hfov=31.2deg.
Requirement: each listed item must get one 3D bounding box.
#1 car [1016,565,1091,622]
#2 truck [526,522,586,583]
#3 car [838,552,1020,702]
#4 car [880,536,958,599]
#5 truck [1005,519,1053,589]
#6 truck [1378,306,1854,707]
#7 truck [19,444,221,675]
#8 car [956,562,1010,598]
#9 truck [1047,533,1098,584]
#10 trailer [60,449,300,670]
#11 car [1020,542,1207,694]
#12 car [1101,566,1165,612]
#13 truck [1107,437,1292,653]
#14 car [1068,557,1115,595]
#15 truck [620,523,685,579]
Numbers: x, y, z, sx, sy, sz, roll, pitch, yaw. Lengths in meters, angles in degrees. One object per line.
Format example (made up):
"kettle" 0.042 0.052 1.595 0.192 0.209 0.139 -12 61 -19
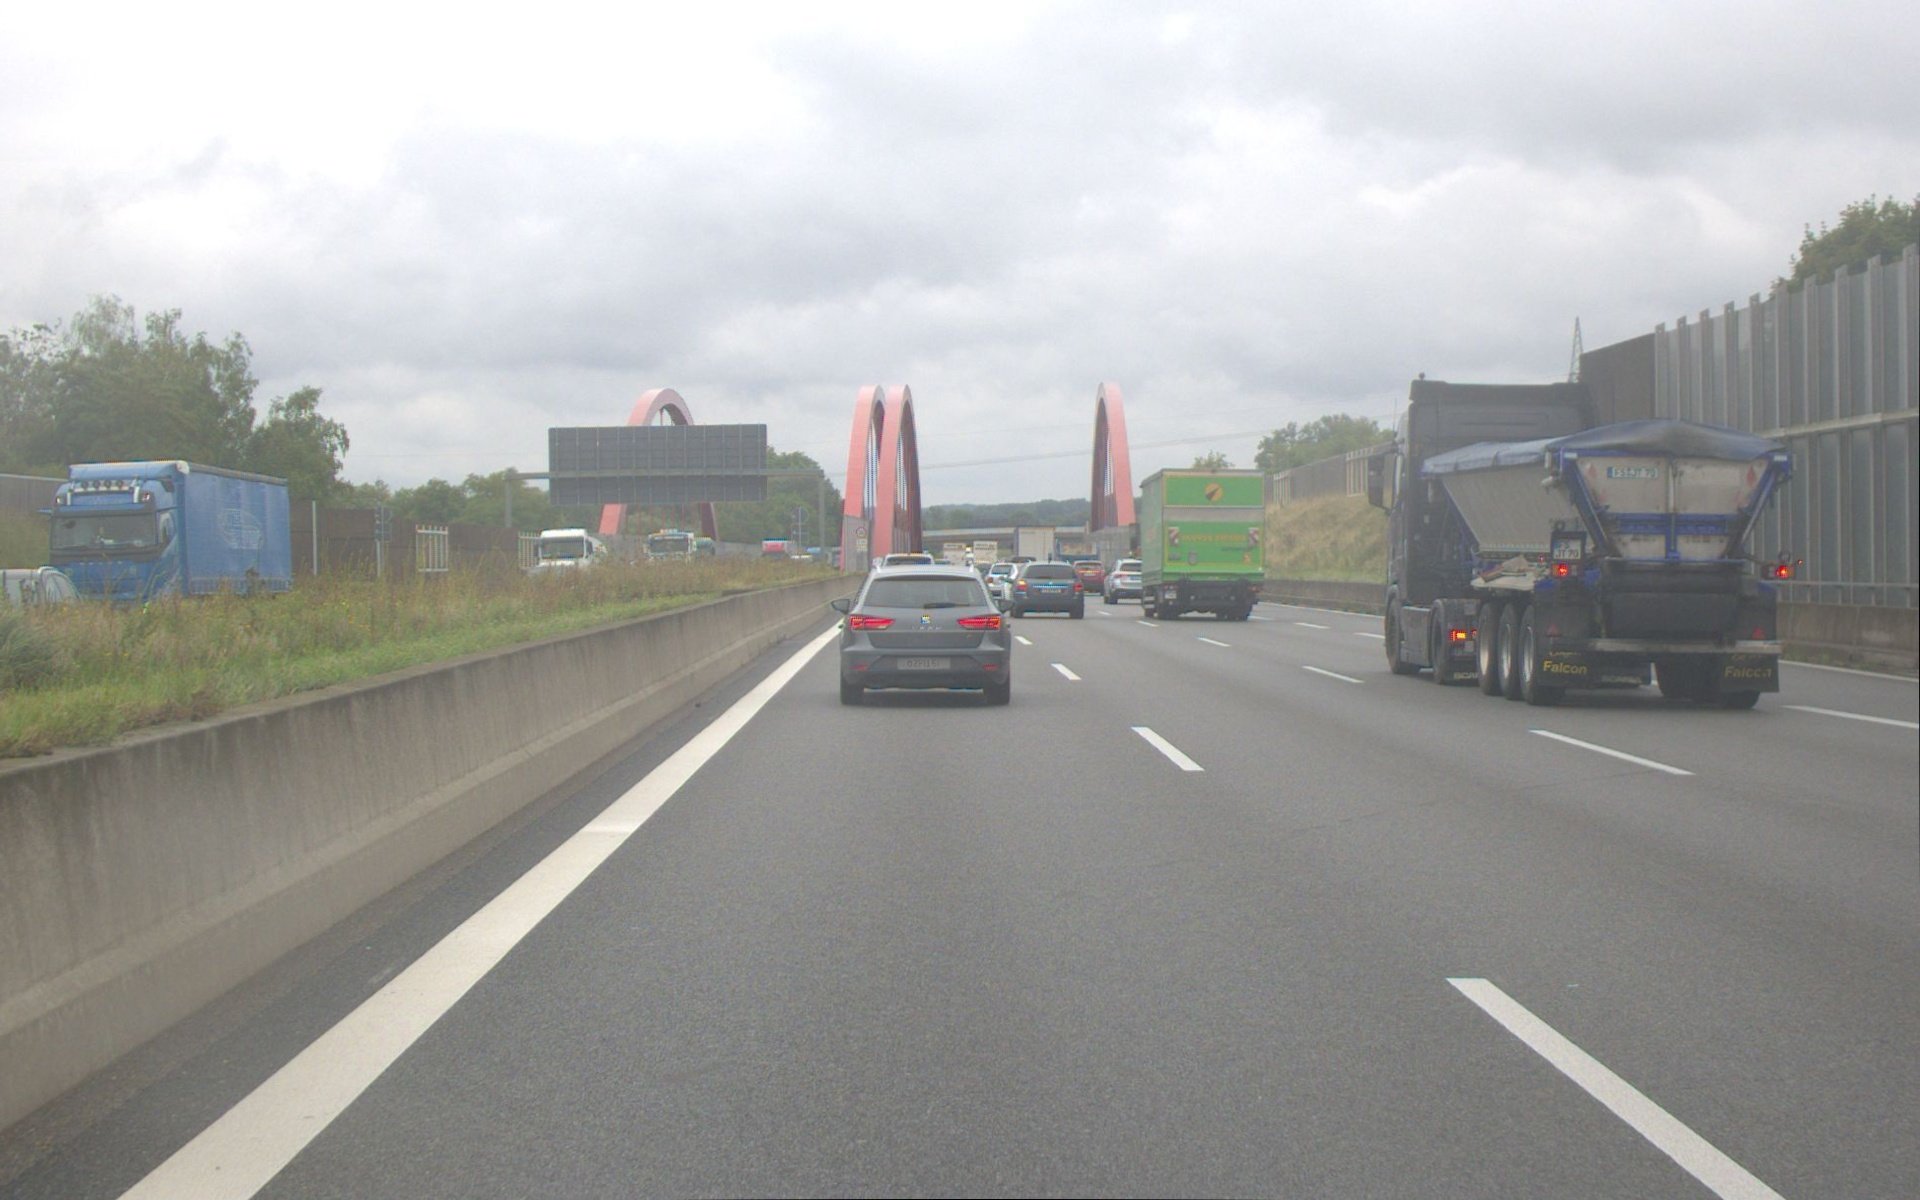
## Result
"car" 2.365 -0.185 87.676 1.782 1.401 3.626 1 1 0
"truck" -20.616 -2.398 175.701 2.621 3.009 5.614 1 1 -3
"car" -0.290 0.238 35.683 1.764 1.448 4.000 1 1 0
"car" -1.079 -0.863 89.641 1.993 1.579 4.000 -1 1 -1
"truck" 4.738 -3.153 236.639 3.044 4.718 7.680 1 1 0
"truck" 7.278 -0.994 40.497 3.089 3.936 12.945 -1 1 0
"truck" -18.436 -0.891 75.778 3.188 4.842 5.419 1 0 -2
"car" 0.892 -0.810 134.883 1.993 1.349 4.000 -1 1 -1
"truck" 5.617 -2.077 172.879 2.361 2.498 6.144 1 1 0
"trailer" -18.749 -0.974 83.698 3.216 4.868 13.529 1 1 -2
"car" 1.803 0.174 41.698 1.993 1.744 4.000 -1 1 -1
"car" 6.259 -0.417 124.909 1.993 1.613 5.328 1 1 -1
"truck" 6.156 -1.412 90.570 3.997 5.248 11.220 1 1 0
"car" 5.981 -1.101 156.541 1.957 1.641 4.000 1 1 0
"truck" -17.498 -2.774 196.024 2.956 3.056 8.728 1 1 0
